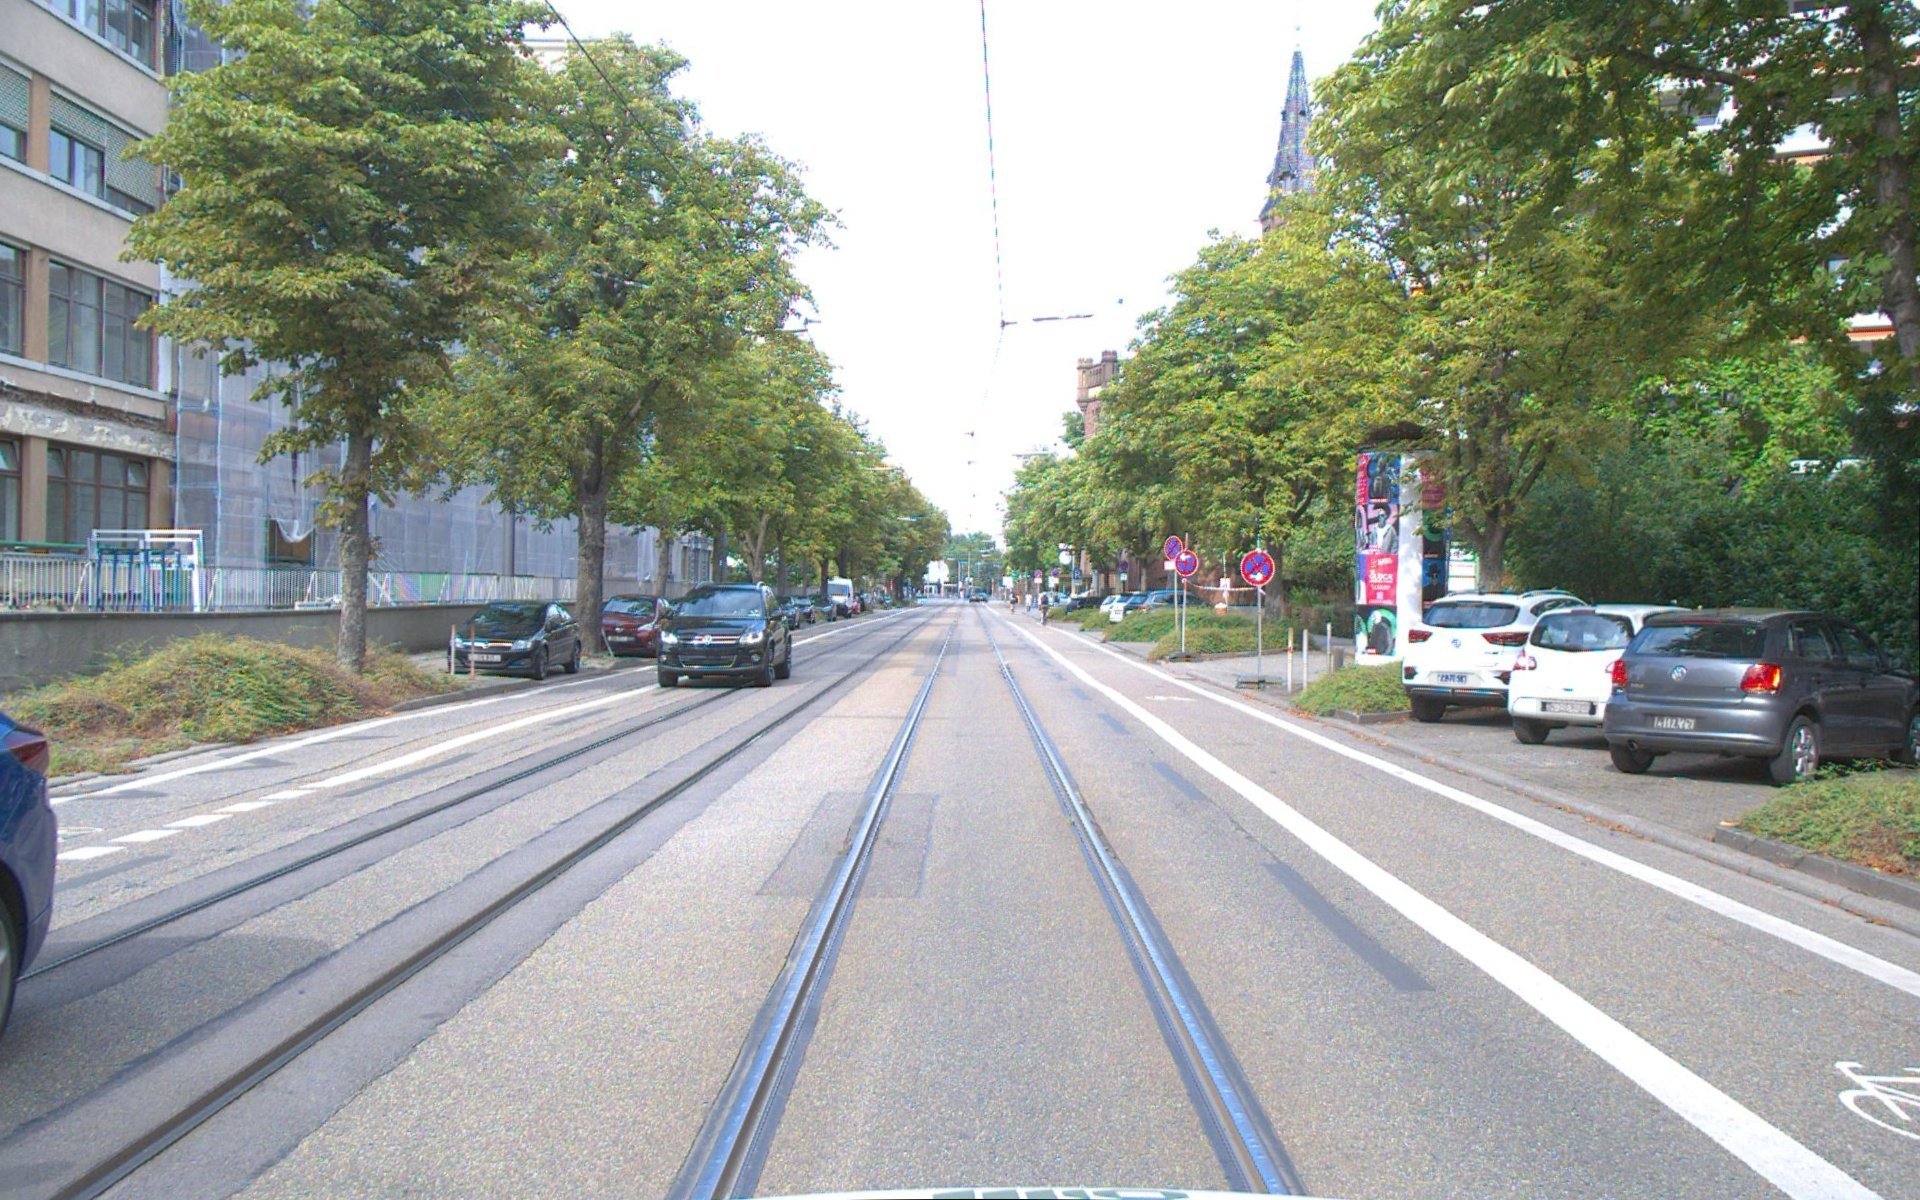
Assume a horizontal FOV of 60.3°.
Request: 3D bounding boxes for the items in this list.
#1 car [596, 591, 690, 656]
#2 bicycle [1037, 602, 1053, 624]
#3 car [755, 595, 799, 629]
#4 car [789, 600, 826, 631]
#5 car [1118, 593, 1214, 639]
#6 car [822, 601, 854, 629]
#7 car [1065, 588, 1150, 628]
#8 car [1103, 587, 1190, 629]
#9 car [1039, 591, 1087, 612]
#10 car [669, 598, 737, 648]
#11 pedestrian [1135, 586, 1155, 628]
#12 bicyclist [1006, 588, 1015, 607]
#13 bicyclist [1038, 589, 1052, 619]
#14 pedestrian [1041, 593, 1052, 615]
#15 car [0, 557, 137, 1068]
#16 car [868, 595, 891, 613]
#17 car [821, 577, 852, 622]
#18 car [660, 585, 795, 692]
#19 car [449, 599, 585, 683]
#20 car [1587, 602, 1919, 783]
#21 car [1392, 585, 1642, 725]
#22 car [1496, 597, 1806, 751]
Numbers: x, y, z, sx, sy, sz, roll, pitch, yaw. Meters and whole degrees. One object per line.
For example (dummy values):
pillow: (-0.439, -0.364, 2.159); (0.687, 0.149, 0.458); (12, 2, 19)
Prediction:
car: (-7.893, 0.568, 41.457); (1.602, 1.522, 3.962); (1, 0, -1)
bicycle: (4.240, 0.658, 82.530); (0.581, 1.062, 1.977); (1, 0, -2)
car: (-7.854, 0.499, 71.267); (1.558, 1.427, 3.961); (1, 0, -2)
car: (-7.491, 0.750, 81.488); (1.558, 1.427, 3.961); (1, 0, -2)
car: (7.527, 0.581, 60.278); (1.654, 1.630, 3.621); (0, 0, 44)
car: (-6.728, 0.814, 91.689); (1.558, 1.427, 3.961); (1, 0, -2)
car: (6.190, 0.354, 69.213); (1.654, 1.630, 3.621); (0, 0, 44)
car: (7.566, 0.329, 67.079); (1.654, 1.630, 3.621); (0, 0, 44)
car: (8.918, 0.152, 143.455); (3.909, 1.722, 1.998); (1, 0, -6)
car: (-7.818, 0.667, 50.664); (1.558, 1.427, 3.961); (1, 0, -2)
pedestrian: (8.288, 0.296, 74.098); (0.769, 1.858, 0.662); (1, 0, 20)
bicyclist: (3.917, -0.191, 128.870); (0.645, 1.522, 0.929); (1, 0, 1)
bicyclist: (4.250, 0.187, 82.532); (0.581, 1.485, 0.875); (1, 0, -2)
pedestrian: (7.499, 0.342, 143.259); (0.732, 1.821, 0.731); (1, -1, 15)
car: (-3.714, 0.645, 3.552); (1.696, 1.522, 4.378); (0, 1, 0)
car: (-6.349, 0.303, 130.481); (1.558, 1.427, 3.550); (1, 0, 0)
car: (-7.792, -0.039, 105.033); (1.686, 2.751, 5.468); (1, 0, -2)
car: (-3.847, 0.591, 28.026); (1.697, 1.657, 4.378); (-1, 0, -1)
car: (-8.167, 0.711, 30.794); (1.558, 1.427, 3.961); (1, 0, -2)
car: (7.430, 0.764, 15.091); (3.611, 1.444, 1.658); (1, 0, -40)
car: (7.207, 0.660, 21.233); (1.654, 1.630, 3.621); (0, 0, 44)
car: (7.576, 0.742, 18.020); (3.611, 1.500, 1.658); (1, 0, -40)
